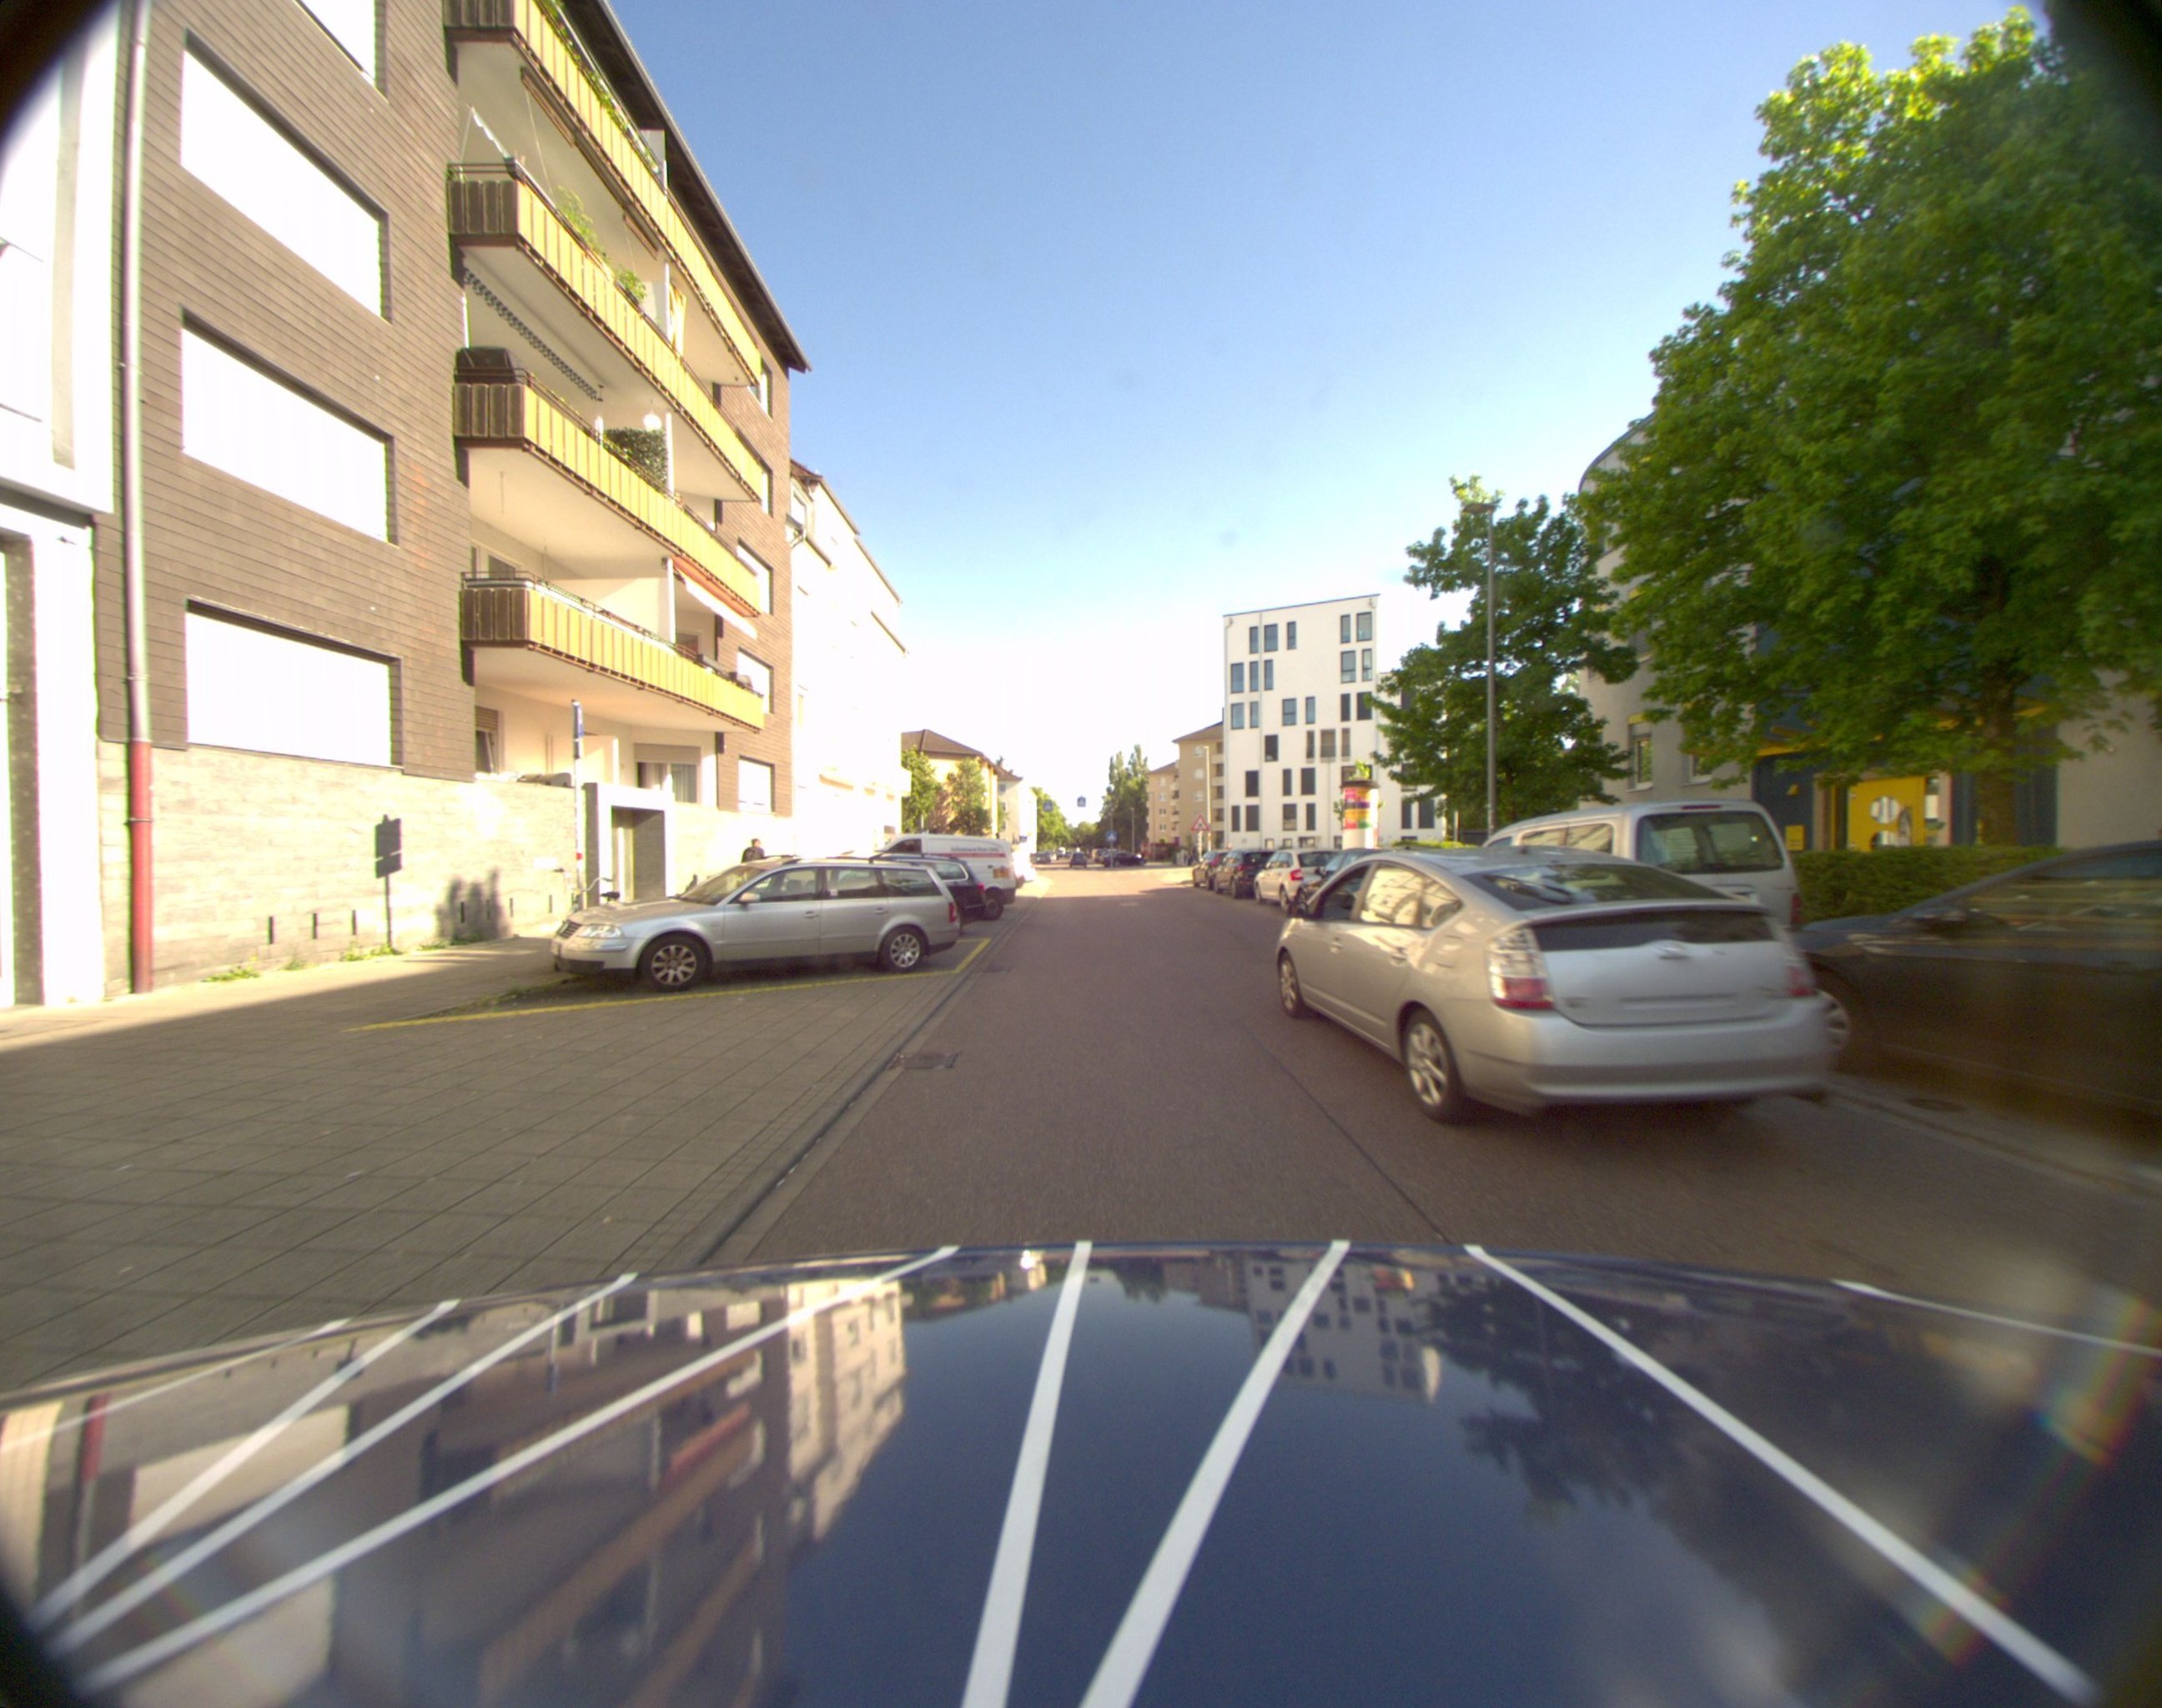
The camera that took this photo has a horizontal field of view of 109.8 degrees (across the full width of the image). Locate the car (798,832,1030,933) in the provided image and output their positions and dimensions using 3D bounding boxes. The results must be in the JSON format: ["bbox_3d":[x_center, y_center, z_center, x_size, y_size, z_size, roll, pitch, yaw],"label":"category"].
[{"bbox_3d":[-3.597,0.553,16.837,4.539,1.887,2.043,1,3,-41],"label":"car"}]

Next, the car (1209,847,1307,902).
[{"bbox_3d":[5.327,0.560,23.442,1.913,1.470,4.379,-1,1,-1],"label":"car"}]

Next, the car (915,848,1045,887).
[{"bbox_3d":[-4.064,0.572,30.997,4.883,1.455,1.968,2,-1,-35],"label":"car"}]

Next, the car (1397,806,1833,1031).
[{"bbox_3d":[5.329,0.524,8.454,1.692,1.828,4.340,-1,0,-2],"label":"car"}]

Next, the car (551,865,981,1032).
[{"bbox_3d":[-3.674,0.947,9.516,4.656,1.458,1.685,-1,2,-42],"label":"car"}]

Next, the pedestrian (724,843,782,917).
[{"bbox_3d":[-7.223,0.548,16.759,0.834,1.584,0.889,0,1,5],"label":"pedestrian"}]

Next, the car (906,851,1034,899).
[{"bbox_3d":[-3.959,0.705,27.383,4.179,1.489,1.818,-1,3,-34],"label":"car"}]

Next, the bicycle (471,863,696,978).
[{"bbox_3d":[-6.028,0.738,9.398,0.704,1.246,2.266,-1,-1,28],"label":"bicycle"}]

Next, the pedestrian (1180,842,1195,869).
[{"bbox_3d":[8.550,0.110,60.966,0.776,2.108,0.957,-2,1,-21],"label":"pedestrian"}]

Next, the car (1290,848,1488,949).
[{"bbox_3d":[5.122,0.635,13.386,1.737,1.431,4.611,-1,1,2],"label":"car"}]

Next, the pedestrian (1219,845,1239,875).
[{"bbox_3d":[8.536,0.356,43.741,0.977,1.704,0.875,0,1,22],"label":"pedestrian"}]

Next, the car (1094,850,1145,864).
[{"bbox_3d":[3.740,0.304,74.159,4.570,1.160,1.995,-2,1,-29],"label":"car"}]

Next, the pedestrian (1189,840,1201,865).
[{"bbox_3d":[8.711,-0.138,58.000,0.789,1.875,0.847,0,3,15],"label":"pedestrian"}]

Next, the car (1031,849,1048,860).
[{"bbox_3d":[-5.286,0.065,96.494,1.999,1.237,3.996,-1,3,-4],"label":"car"}]

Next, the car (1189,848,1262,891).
[{"bbox_3d":[5.279,0.514,28.201,1.794,1.402,4.222,-1,1,-1],"label":"car"}]

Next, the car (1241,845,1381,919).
[{"bbox_3d":[5.411,0.568,18.541,1.913,1.521,4.623,-1,1,-1],"label":"car"}]

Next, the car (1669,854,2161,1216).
[{"bbox_3d":[5.233,0.755,3.667,1.602,1.432,3.999,-1,1,-2],"label":"car"}]

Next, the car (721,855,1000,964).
[{"bbox_3d":[-3.655,0.808,13.195,4.336,1.504,1.751,-1,2,-45],"label":"car"}]

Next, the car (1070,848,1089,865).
[{"bbox_3d":[-0.133,0.252,77.656,1.841,1.496,4.135,-1,3,0],"label":"car"}]

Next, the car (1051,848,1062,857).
[{"bbox_3d":[-4.776,-0.283,149.015,1.999,1.685,3.998,-1,2,-2],"label":"car"}]

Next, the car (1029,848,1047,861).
[{"bbox_3d":[-5.225,0.083,91.168,1.909,1.506,3.997,0,0,-7],"label":"car"}]

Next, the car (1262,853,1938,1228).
[{"bbox_3d":[2.603,0.755,5.131,1.730,1.477,4.105,-1,0,-1],"label":"car"}]
